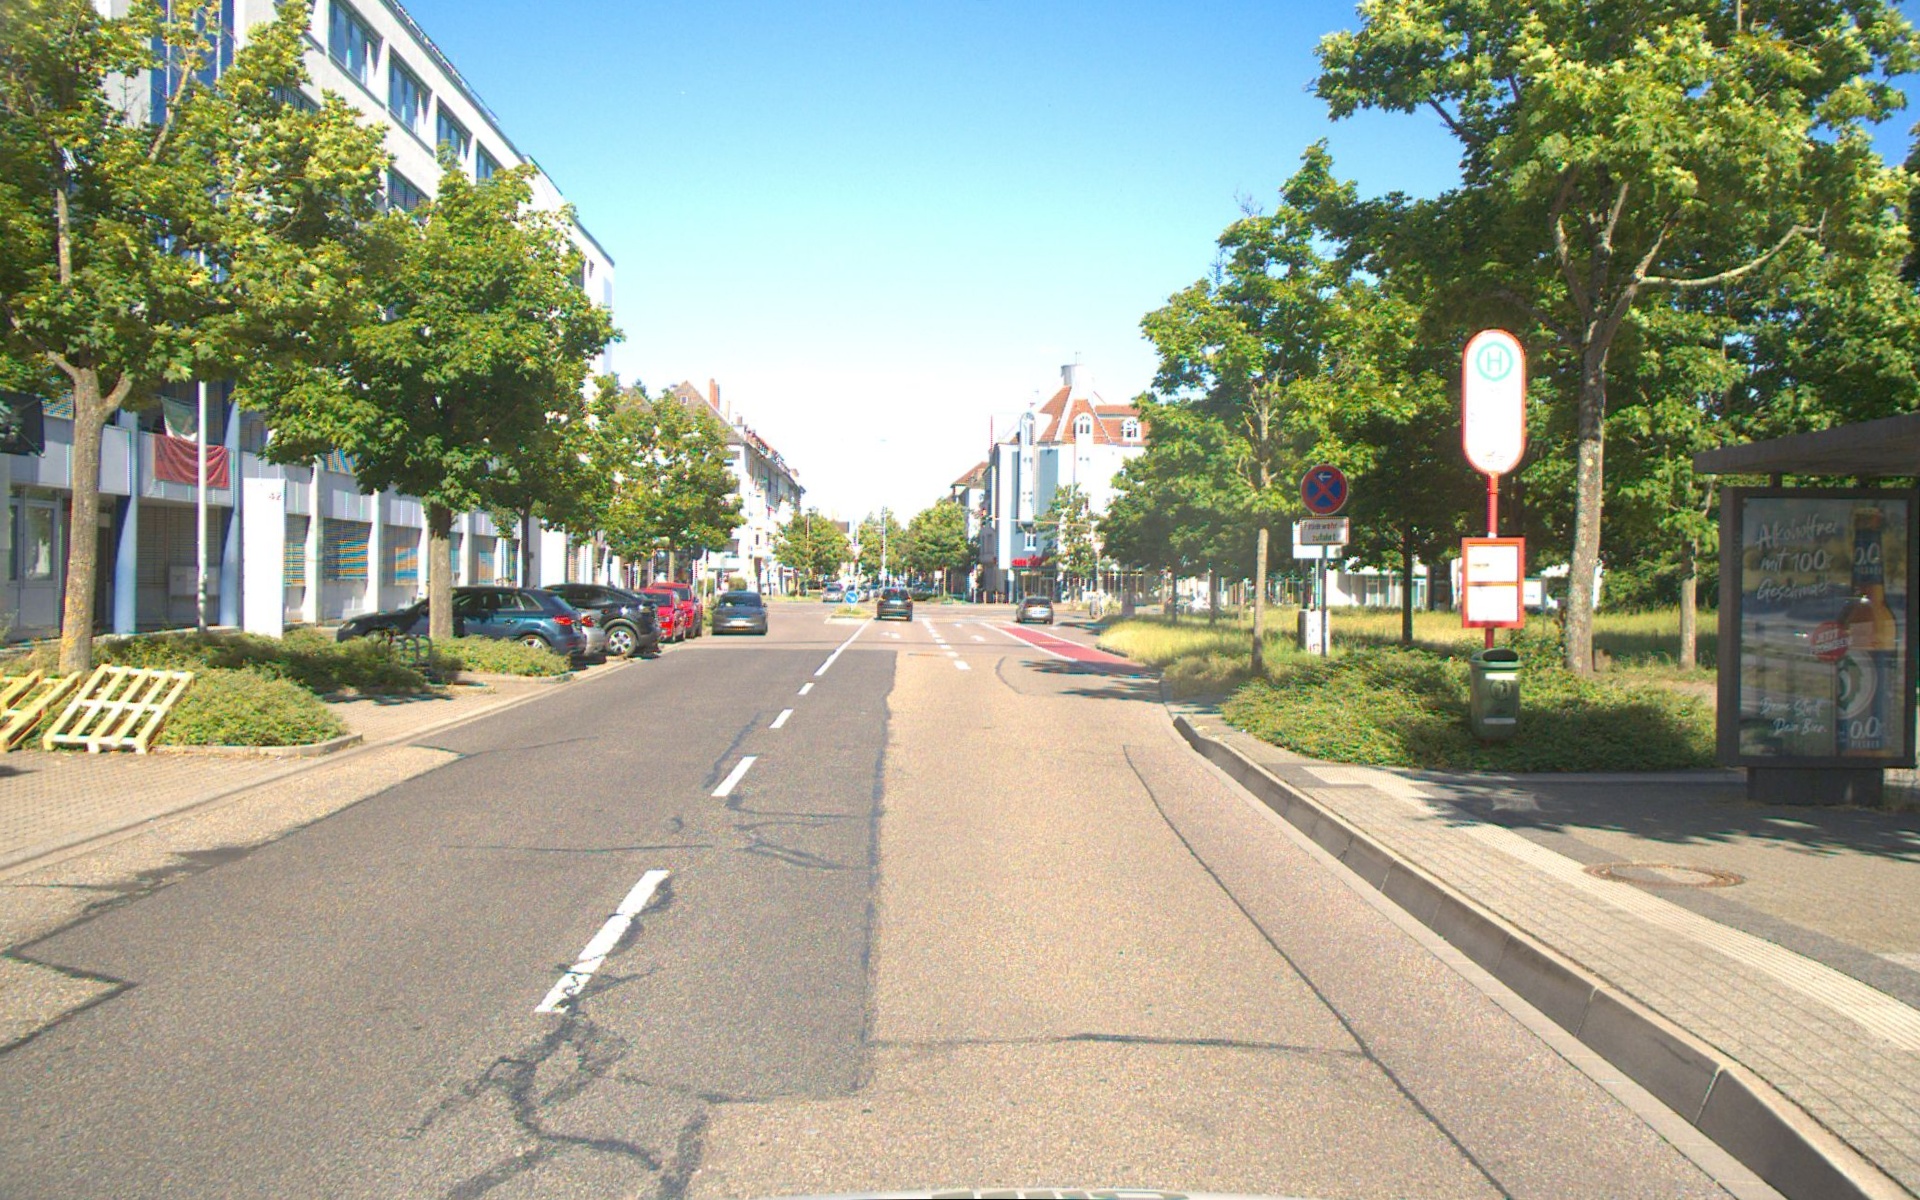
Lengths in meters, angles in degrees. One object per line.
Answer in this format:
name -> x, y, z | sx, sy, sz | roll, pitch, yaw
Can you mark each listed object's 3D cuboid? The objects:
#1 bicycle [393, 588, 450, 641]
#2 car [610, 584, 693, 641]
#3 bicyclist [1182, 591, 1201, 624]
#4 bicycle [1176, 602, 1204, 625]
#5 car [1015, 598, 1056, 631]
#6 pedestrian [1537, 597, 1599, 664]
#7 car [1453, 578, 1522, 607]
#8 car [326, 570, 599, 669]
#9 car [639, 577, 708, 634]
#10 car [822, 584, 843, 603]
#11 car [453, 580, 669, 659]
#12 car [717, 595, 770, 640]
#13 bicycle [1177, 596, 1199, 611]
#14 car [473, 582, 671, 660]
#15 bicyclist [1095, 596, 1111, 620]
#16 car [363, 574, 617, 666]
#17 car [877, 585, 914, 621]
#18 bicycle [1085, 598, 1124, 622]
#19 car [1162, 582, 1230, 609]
bicycle -> -14.280, 0.366, 43.917 | 0.694, 1.371, 2.233 | 0, 0, 3
car -> -8.615, 0.338, 46.439 | 1.654, 1.457, 3.870 | 3, 0, -2
bicyclist -> 13.923, 0.462, 99.466 | 0.777, 1.993, 1.007 | 0, 0, 35
bicycle -> 13.830, 0.782, 99.333 | 0.777, 1.371, 2.255 | 0, 0, 35
car -> 4.090, 0.764, 89.767 | 1.655, 1.605, 3.867 | 3, 0, -5
pedestrian -> 11.564, 0.576, 31.461 | 0.830, 1.238, 0.726 | -1, 0, -15
car -> 33.354, -0.441, 104.559 | 3.779, 1.605, 1.694 | 3, 0, 2
car -> -8.674, 0.332, 29.152 | 4.303, 1.457, 1.691 | 3, 0, -8
car -> -8.907, 0.158, 51.703 | 1.655, 1.635, 4.307 | 3, 0, -5
car -> -11.755, -0.596, 152.729 | 1.718, 1.583, 3.730 | 3, 0, -1
car -> -8.617, 0.420, 36.035 | 4.300, 1.457, 1.692 | 3, 0, -6
car -> -7.476, 0.568, 57.488 | 1.655, 1.494, 4.542 | 0, 0, -5
bicycle -> 19.665, 0.305, 142.821 | 1.828, 1.203, 0.561 | 0, 0, -7
car -> -9.099, 0.487, 39.062 | 4.302, 1.565, 1.691 | 3, 0, -7
bicyclist -> 8.424, 0.476, 97.419 | 0.689, 1.371, 0.791 | 0, 0, 32
car -> -8.896, 0.376, 31.560 | 4.297, 1.457, 1.693 | 3, 0, -2
car -> -3.290, 0.150, 83.769 | 1.719, 1.656, 4.475 | 3, 0, -4
bicycle -> 8.509, 0.597, 97.353 | 2.215, 1.371, 0.791 | 0, 0, 33
car -> 14.642, -0.264, 102.715 | 3.873, 1.628, 1.674 | 0, 0, -5
